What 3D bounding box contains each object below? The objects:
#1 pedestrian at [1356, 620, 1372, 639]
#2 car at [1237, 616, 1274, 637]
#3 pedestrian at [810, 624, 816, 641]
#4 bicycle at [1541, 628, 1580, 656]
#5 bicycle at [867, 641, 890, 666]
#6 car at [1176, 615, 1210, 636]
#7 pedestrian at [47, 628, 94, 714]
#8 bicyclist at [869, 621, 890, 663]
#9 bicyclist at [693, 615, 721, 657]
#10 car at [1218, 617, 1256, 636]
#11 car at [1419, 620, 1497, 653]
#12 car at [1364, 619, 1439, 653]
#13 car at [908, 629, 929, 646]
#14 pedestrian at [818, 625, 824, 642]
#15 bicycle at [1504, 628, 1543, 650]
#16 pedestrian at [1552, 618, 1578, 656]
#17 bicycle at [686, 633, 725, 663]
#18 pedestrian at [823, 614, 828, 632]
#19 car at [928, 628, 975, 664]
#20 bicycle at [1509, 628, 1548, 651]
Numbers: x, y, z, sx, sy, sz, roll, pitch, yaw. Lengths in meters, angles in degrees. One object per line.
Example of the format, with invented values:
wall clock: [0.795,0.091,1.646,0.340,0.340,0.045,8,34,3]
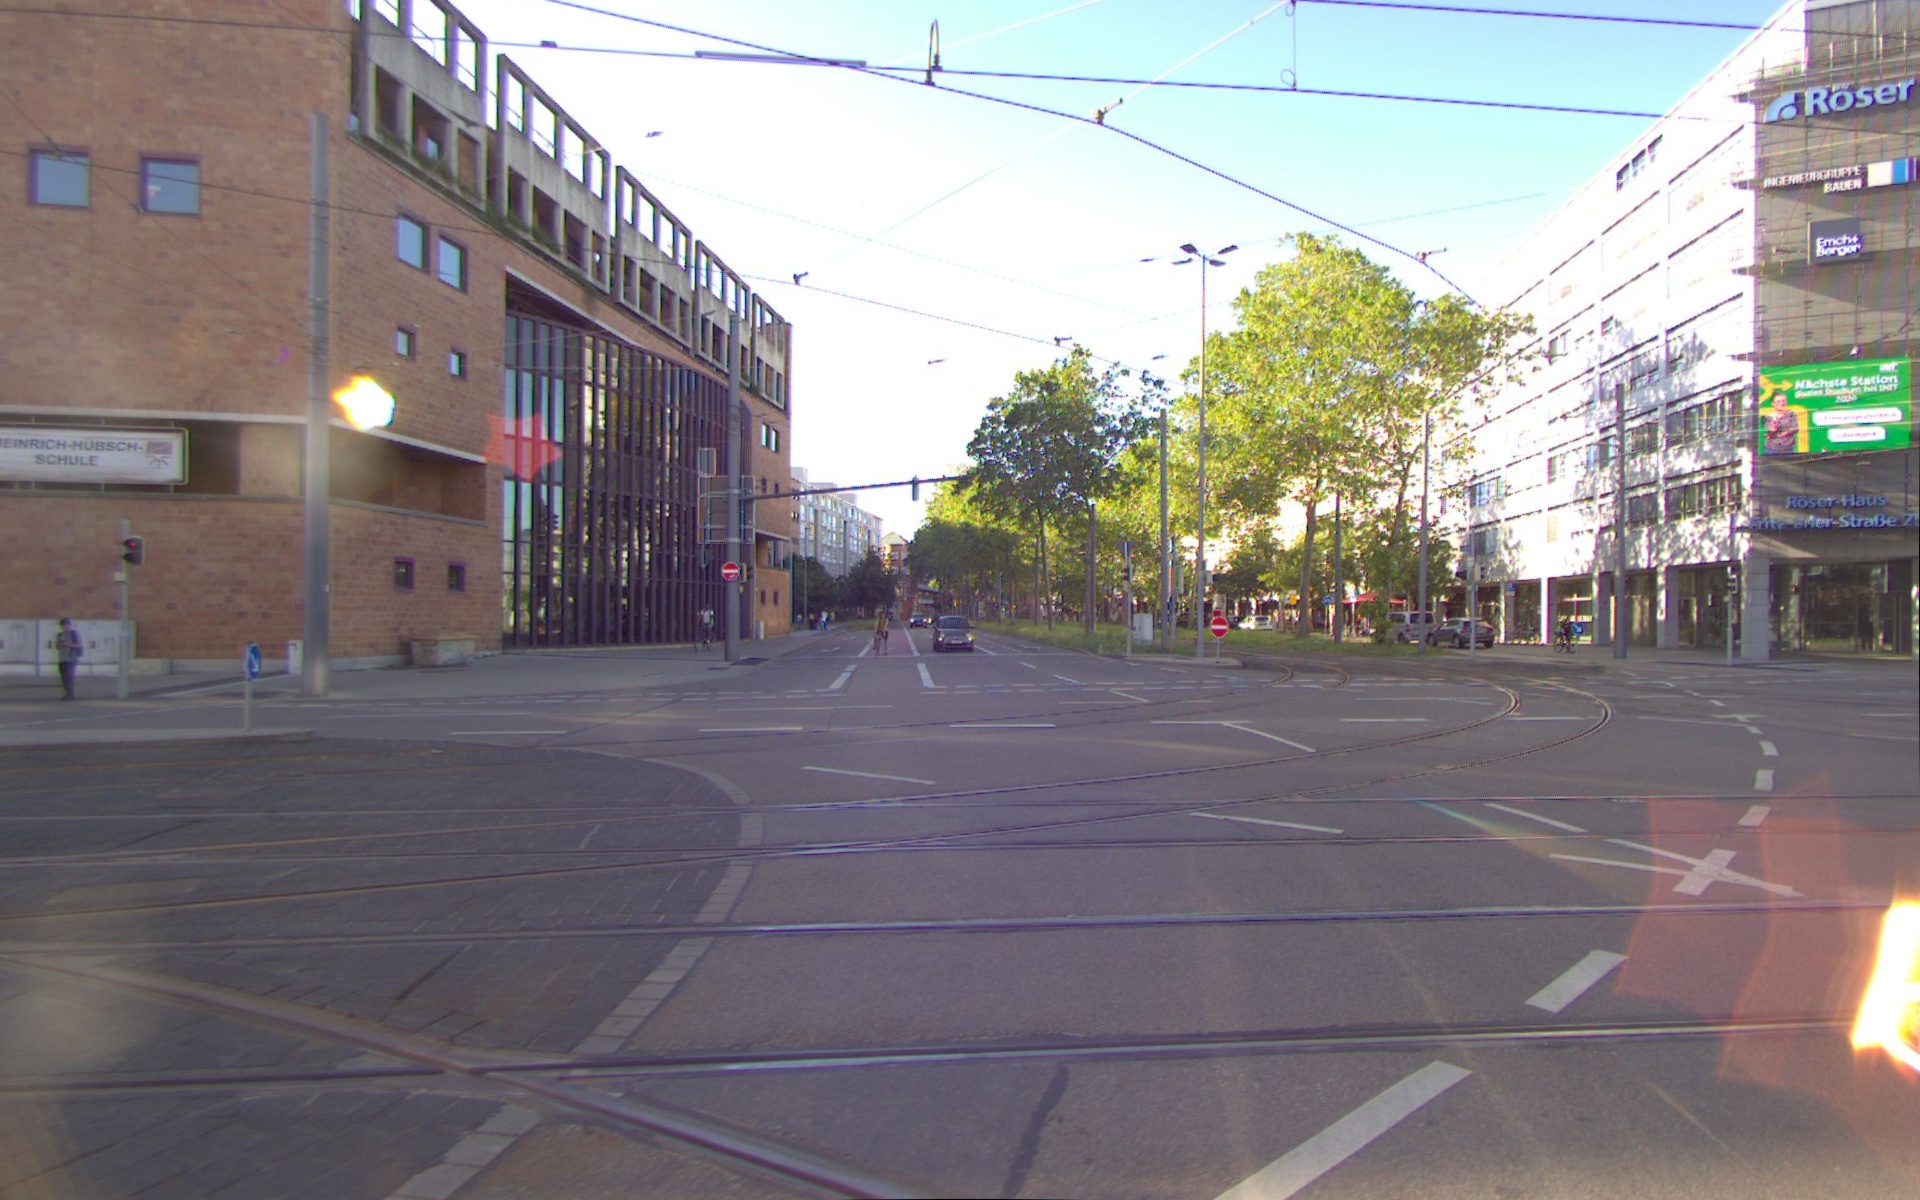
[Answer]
pedestrian: [33.808,2.482,84.063,0.856,1.567,0.994,1,0,-1]
car: [24.084,2.156,81.915,1.828,1.660,3.868,0,-1,-1]
pedestrian: [-12.345,2.722,84.300,0.358,1.439,0.332,1,0,5]
bicycle: [27.343,1.909,45.766,0.601,1.179,1.847,-2,1,-3]
bicycle: [-3.246,2.107,40.023,0.526,0.925,1.570,1,-1,9]
car: [23.021,2.526,99.394,1.997,2.003,4.412,0,-1,-4]
pedestrian: [-17.512,1.384,19.778,0.496,1.639,0.508,1,1,-16]
bicyclist: [-3.197,1.665,39.957,0.611,1.643,0.815,1,-1,9]
bicyclist: [-10.039,1.410,39.814,0.672,1.611,0.928,1,-1,17]
car: [24.129,2.272,87.516,1.955,1.650,4.083,0,-1,-4]
car: [26.002,1.866,52.604,1.829,1.593,4.415,-2,-1,-1]
car: [25.464,2.038,58.112,1.891,1.868,4.922,-2,-1,-4]
car: [-4.382,3.891,105.464,1.794,1.583,4.336,1,0,-7]
pedestrian: [-11.704,2.824,84.370,0.384,1.435,0.459,1,0,3]
bicycle: [30.403,2.105,54.183,1.802,1.167,0.470,-1,0,2]
pedestrian: [27.538,1.678,45.746,0.595,1.633,0.837,-2,1,-5]
bicycle: [-10.061,1.884,39.787,0.604,1.094,1.921,1,-1,16]
pedestrian: [-11.543,1.977,86.053,0.359,1.543,0.423,1,0,5]
car: [-0.406,1.937,43.022,1.625,1.346,3.618,1,0,-7]
bicycle: [30.389,2.108,53.704,1.802,1.167,0.470,-1,0,2]
